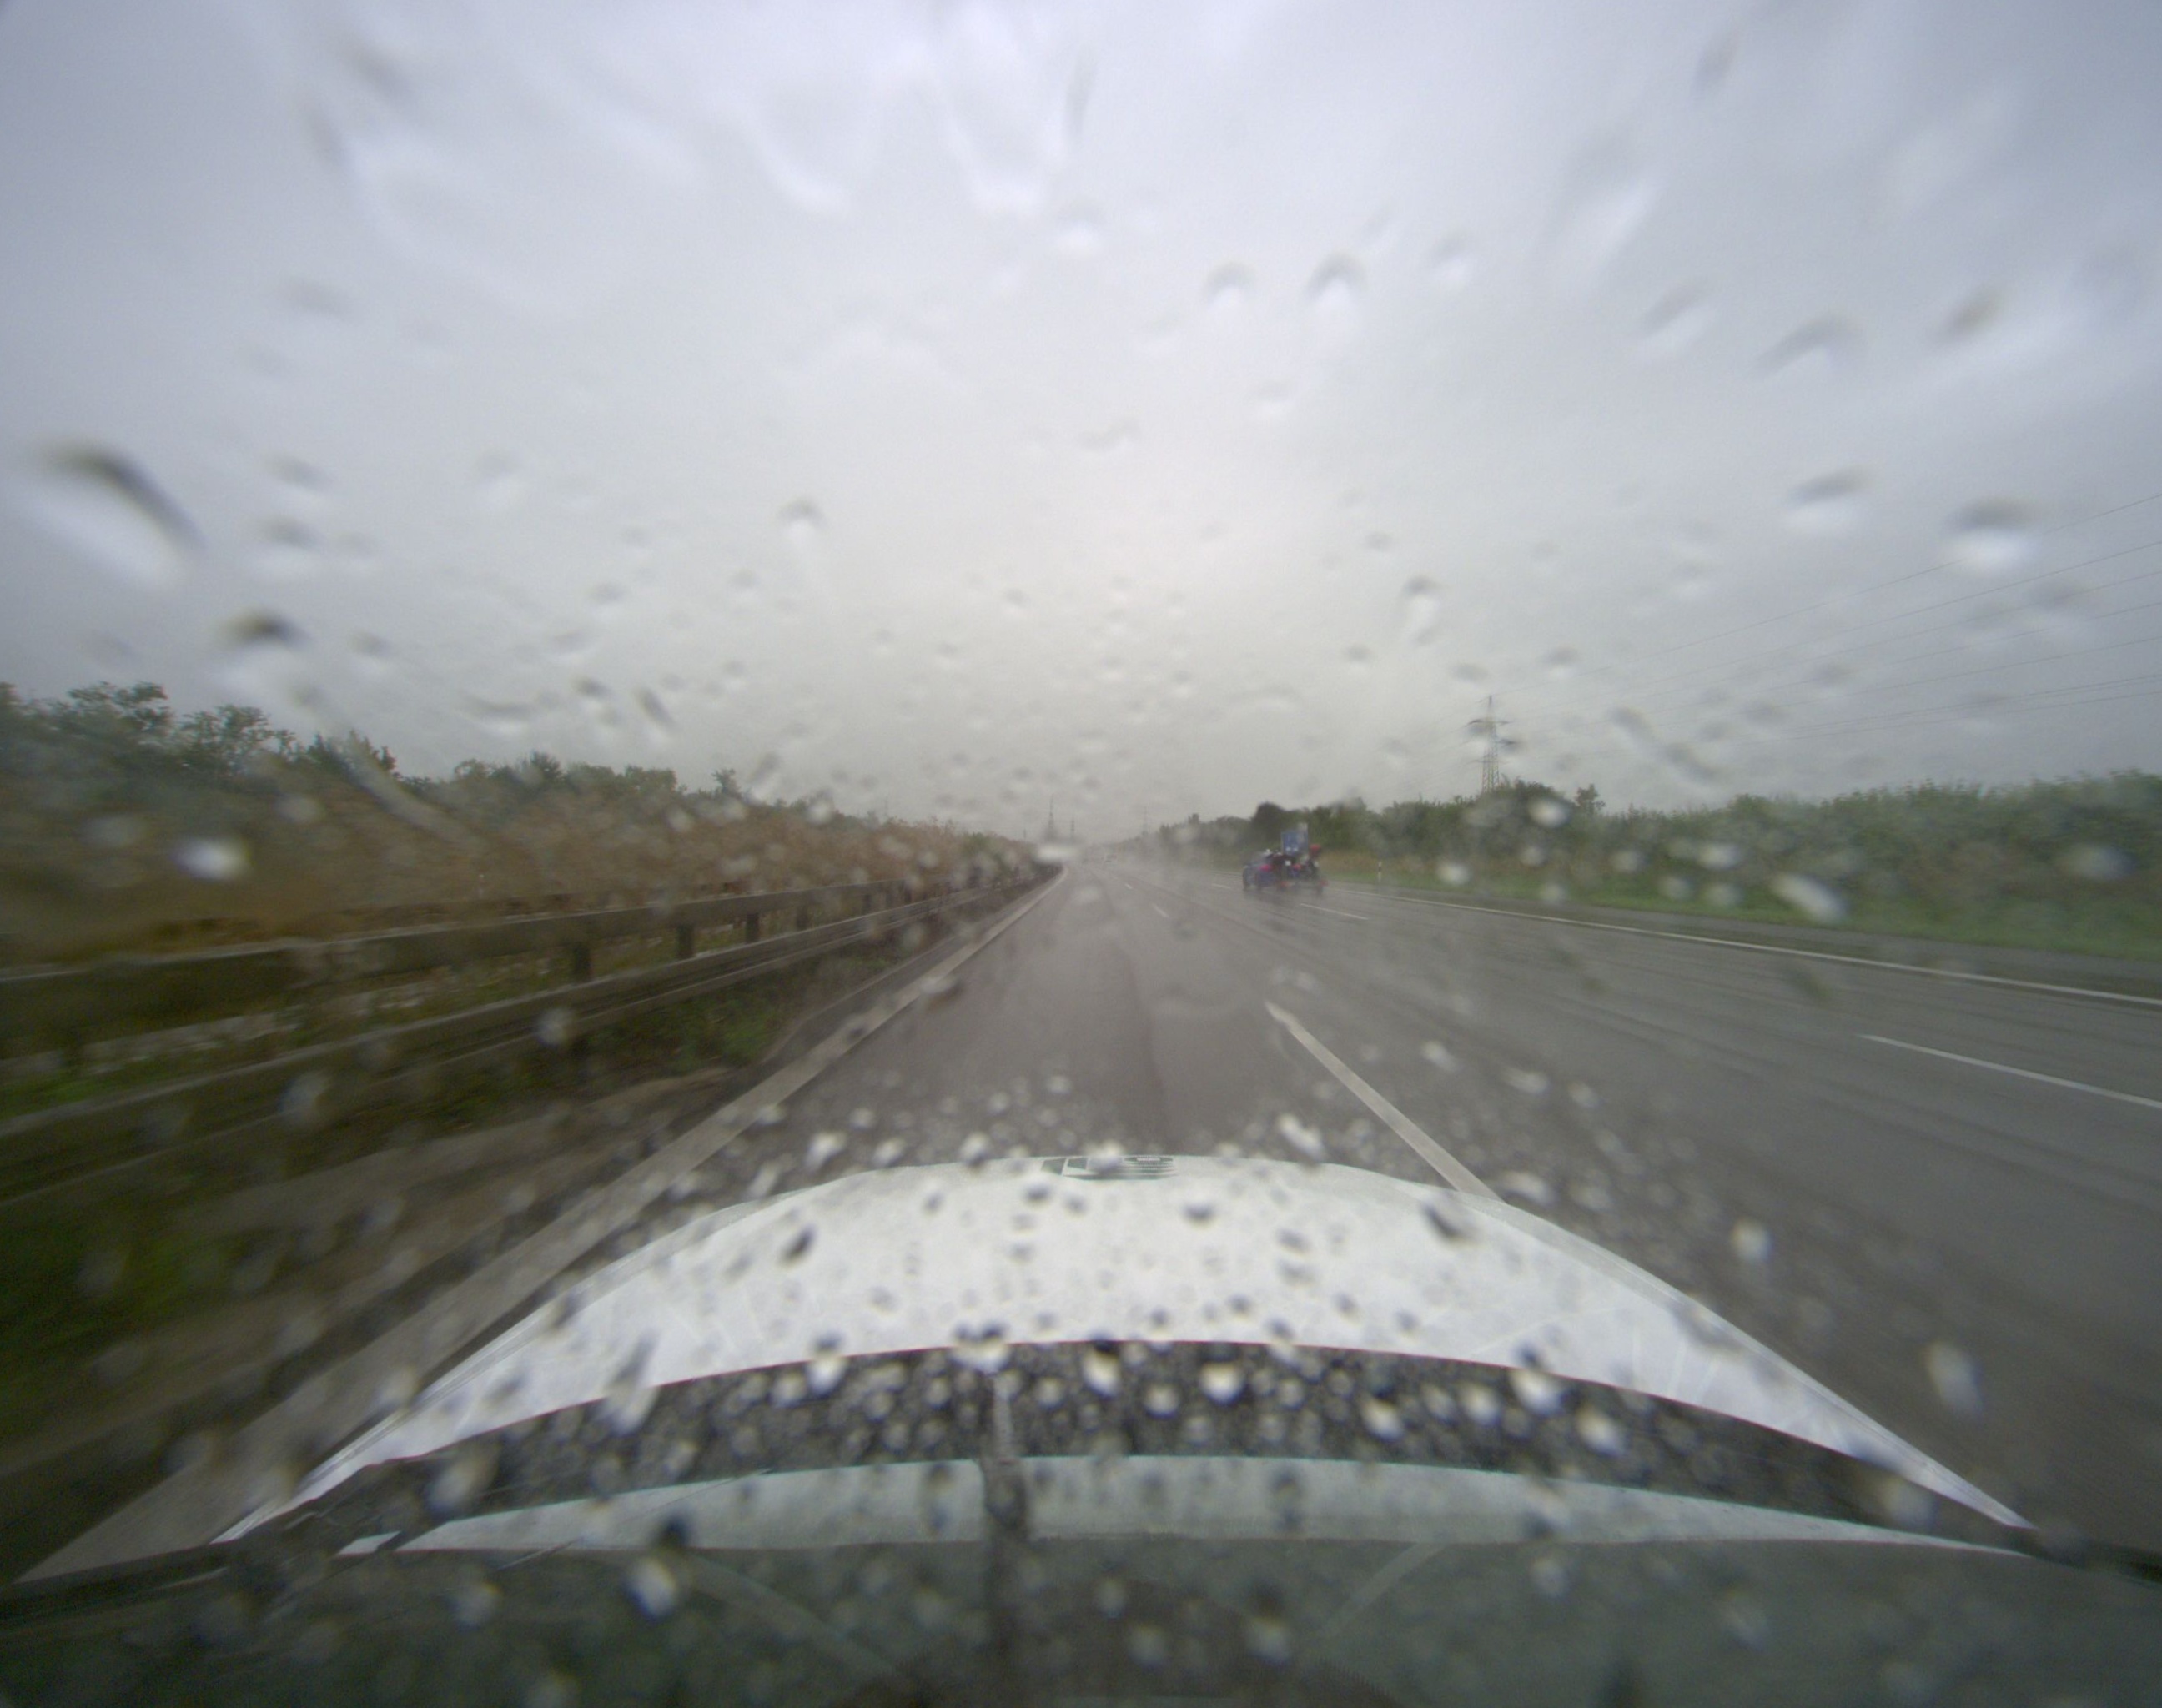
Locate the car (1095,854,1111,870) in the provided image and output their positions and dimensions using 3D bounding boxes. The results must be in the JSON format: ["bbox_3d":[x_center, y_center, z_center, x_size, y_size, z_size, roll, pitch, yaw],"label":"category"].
[{"bbox_3d":[2.914,1.052,108.415,1.986,2.014,4.002,-1,0,2],"label":"car"}]

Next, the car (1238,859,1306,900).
[{"bbox_3d":[8.204,1.059,35.411,1.986,1.619,4.995,-1,-1,2],"label":"car"}]

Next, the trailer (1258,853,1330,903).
[{"bbox_3d":[8.116,0.914,31.316,1.972,1.785,3.189,-1,-1,1],"label":"trailer"}]

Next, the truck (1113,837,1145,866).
[{"bbox_3d":[8.178,-0.310,140.521,4.178,4.630,16.093,-1,-1,-1],"label":"truck"}]

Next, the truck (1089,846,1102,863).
[{"bbox_3d":[3.673,0.173,211.630,3.222,4.311,8.834,-1,0,0],"label":"truck"}]
